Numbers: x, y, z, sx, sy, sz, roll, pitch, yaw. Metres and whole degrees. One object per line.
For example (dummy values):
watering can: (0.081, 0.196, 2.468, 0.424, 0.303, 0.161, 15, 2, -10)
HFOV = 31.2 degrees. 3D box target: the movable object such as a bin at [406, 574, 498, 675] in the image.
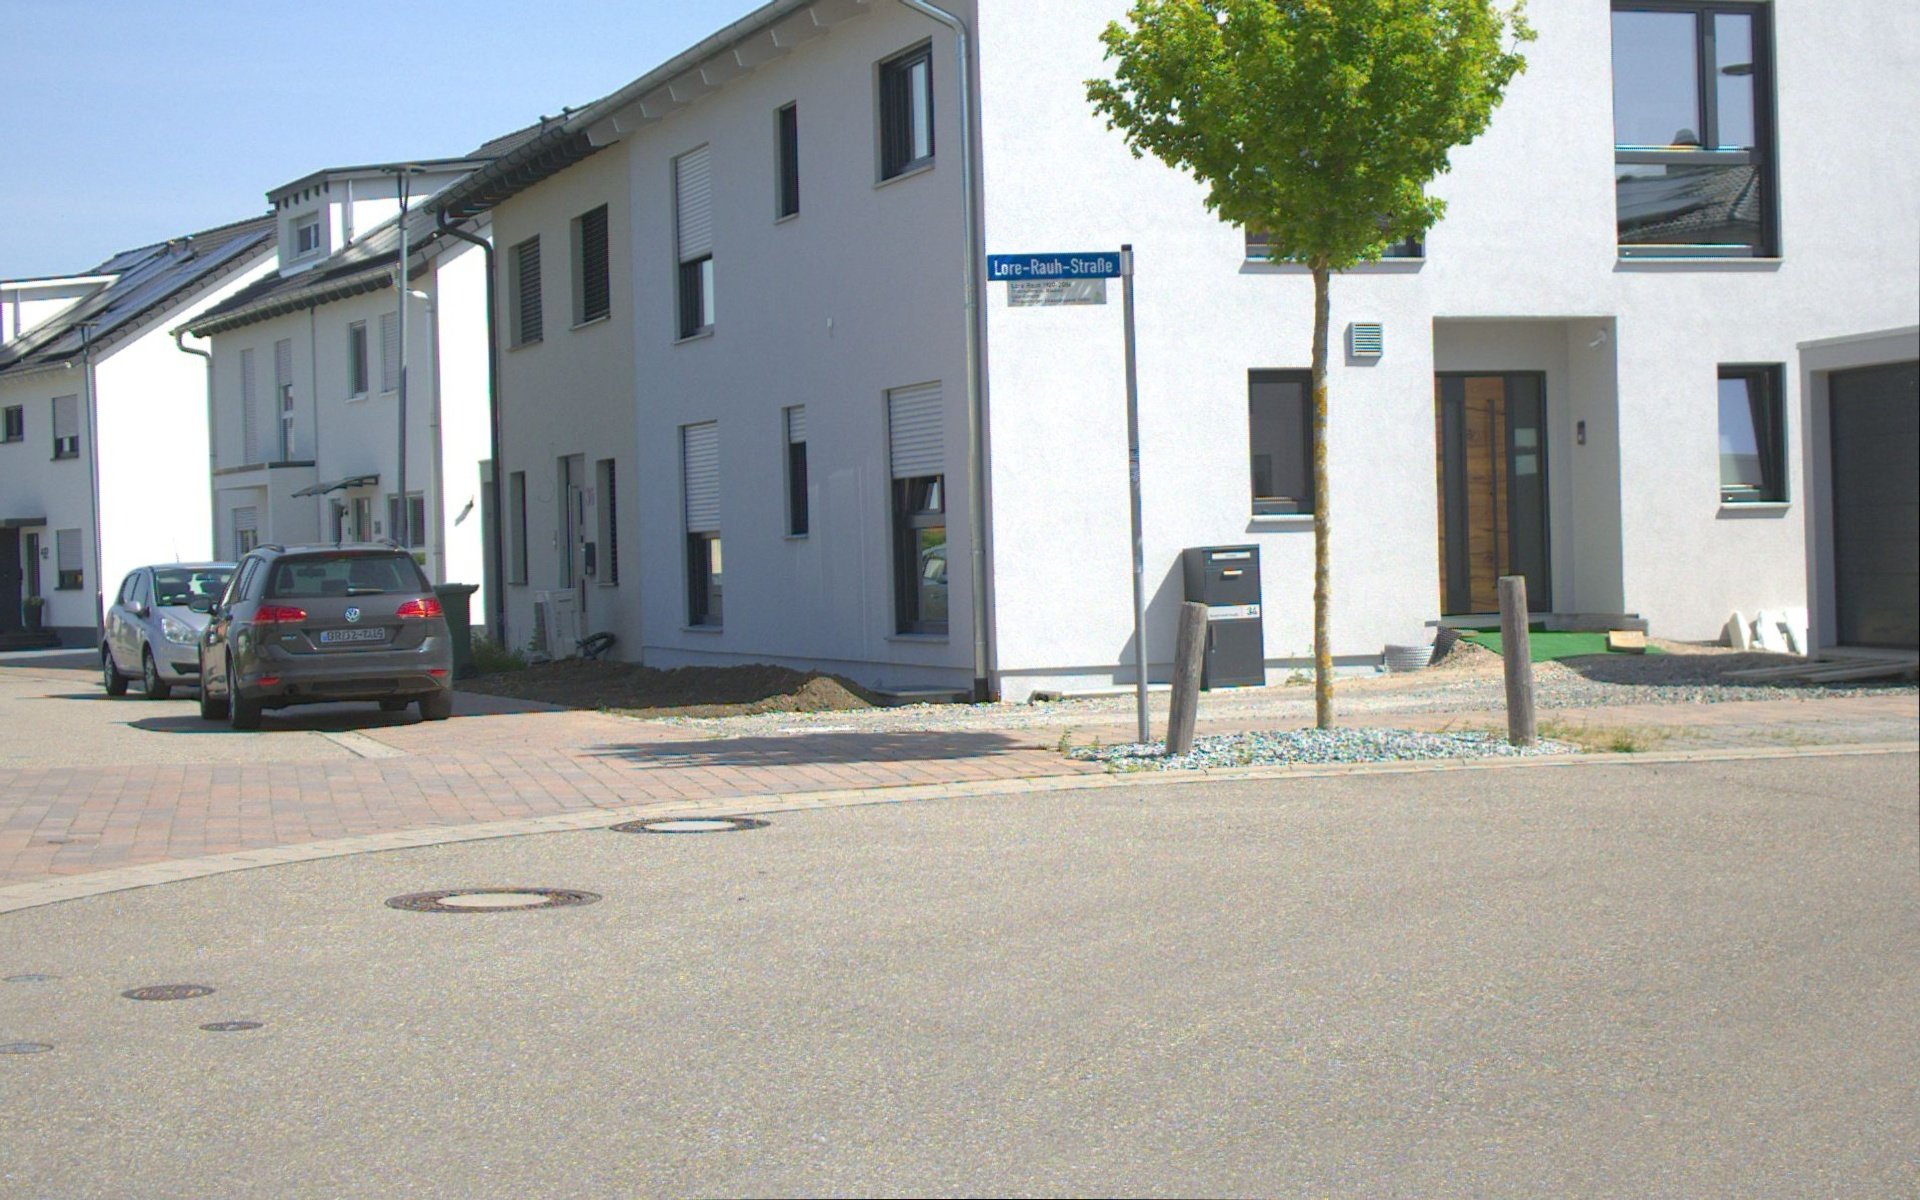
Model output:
movable object such as a bin: (-5.577, 0.261, 37.693, 0.784, 1.046, 0.804, -4, 2, -20)

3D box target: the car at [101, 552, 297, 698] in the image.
car: (-8.417, 0.244, 37.817, 1.676, 1.459, 3.945, -2, 1, -18)

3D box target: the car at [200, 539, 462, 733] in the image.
car: (-5.244, 0.251, 28.320, 1.726, 1.418, 4.001, -2, 1, -15)
